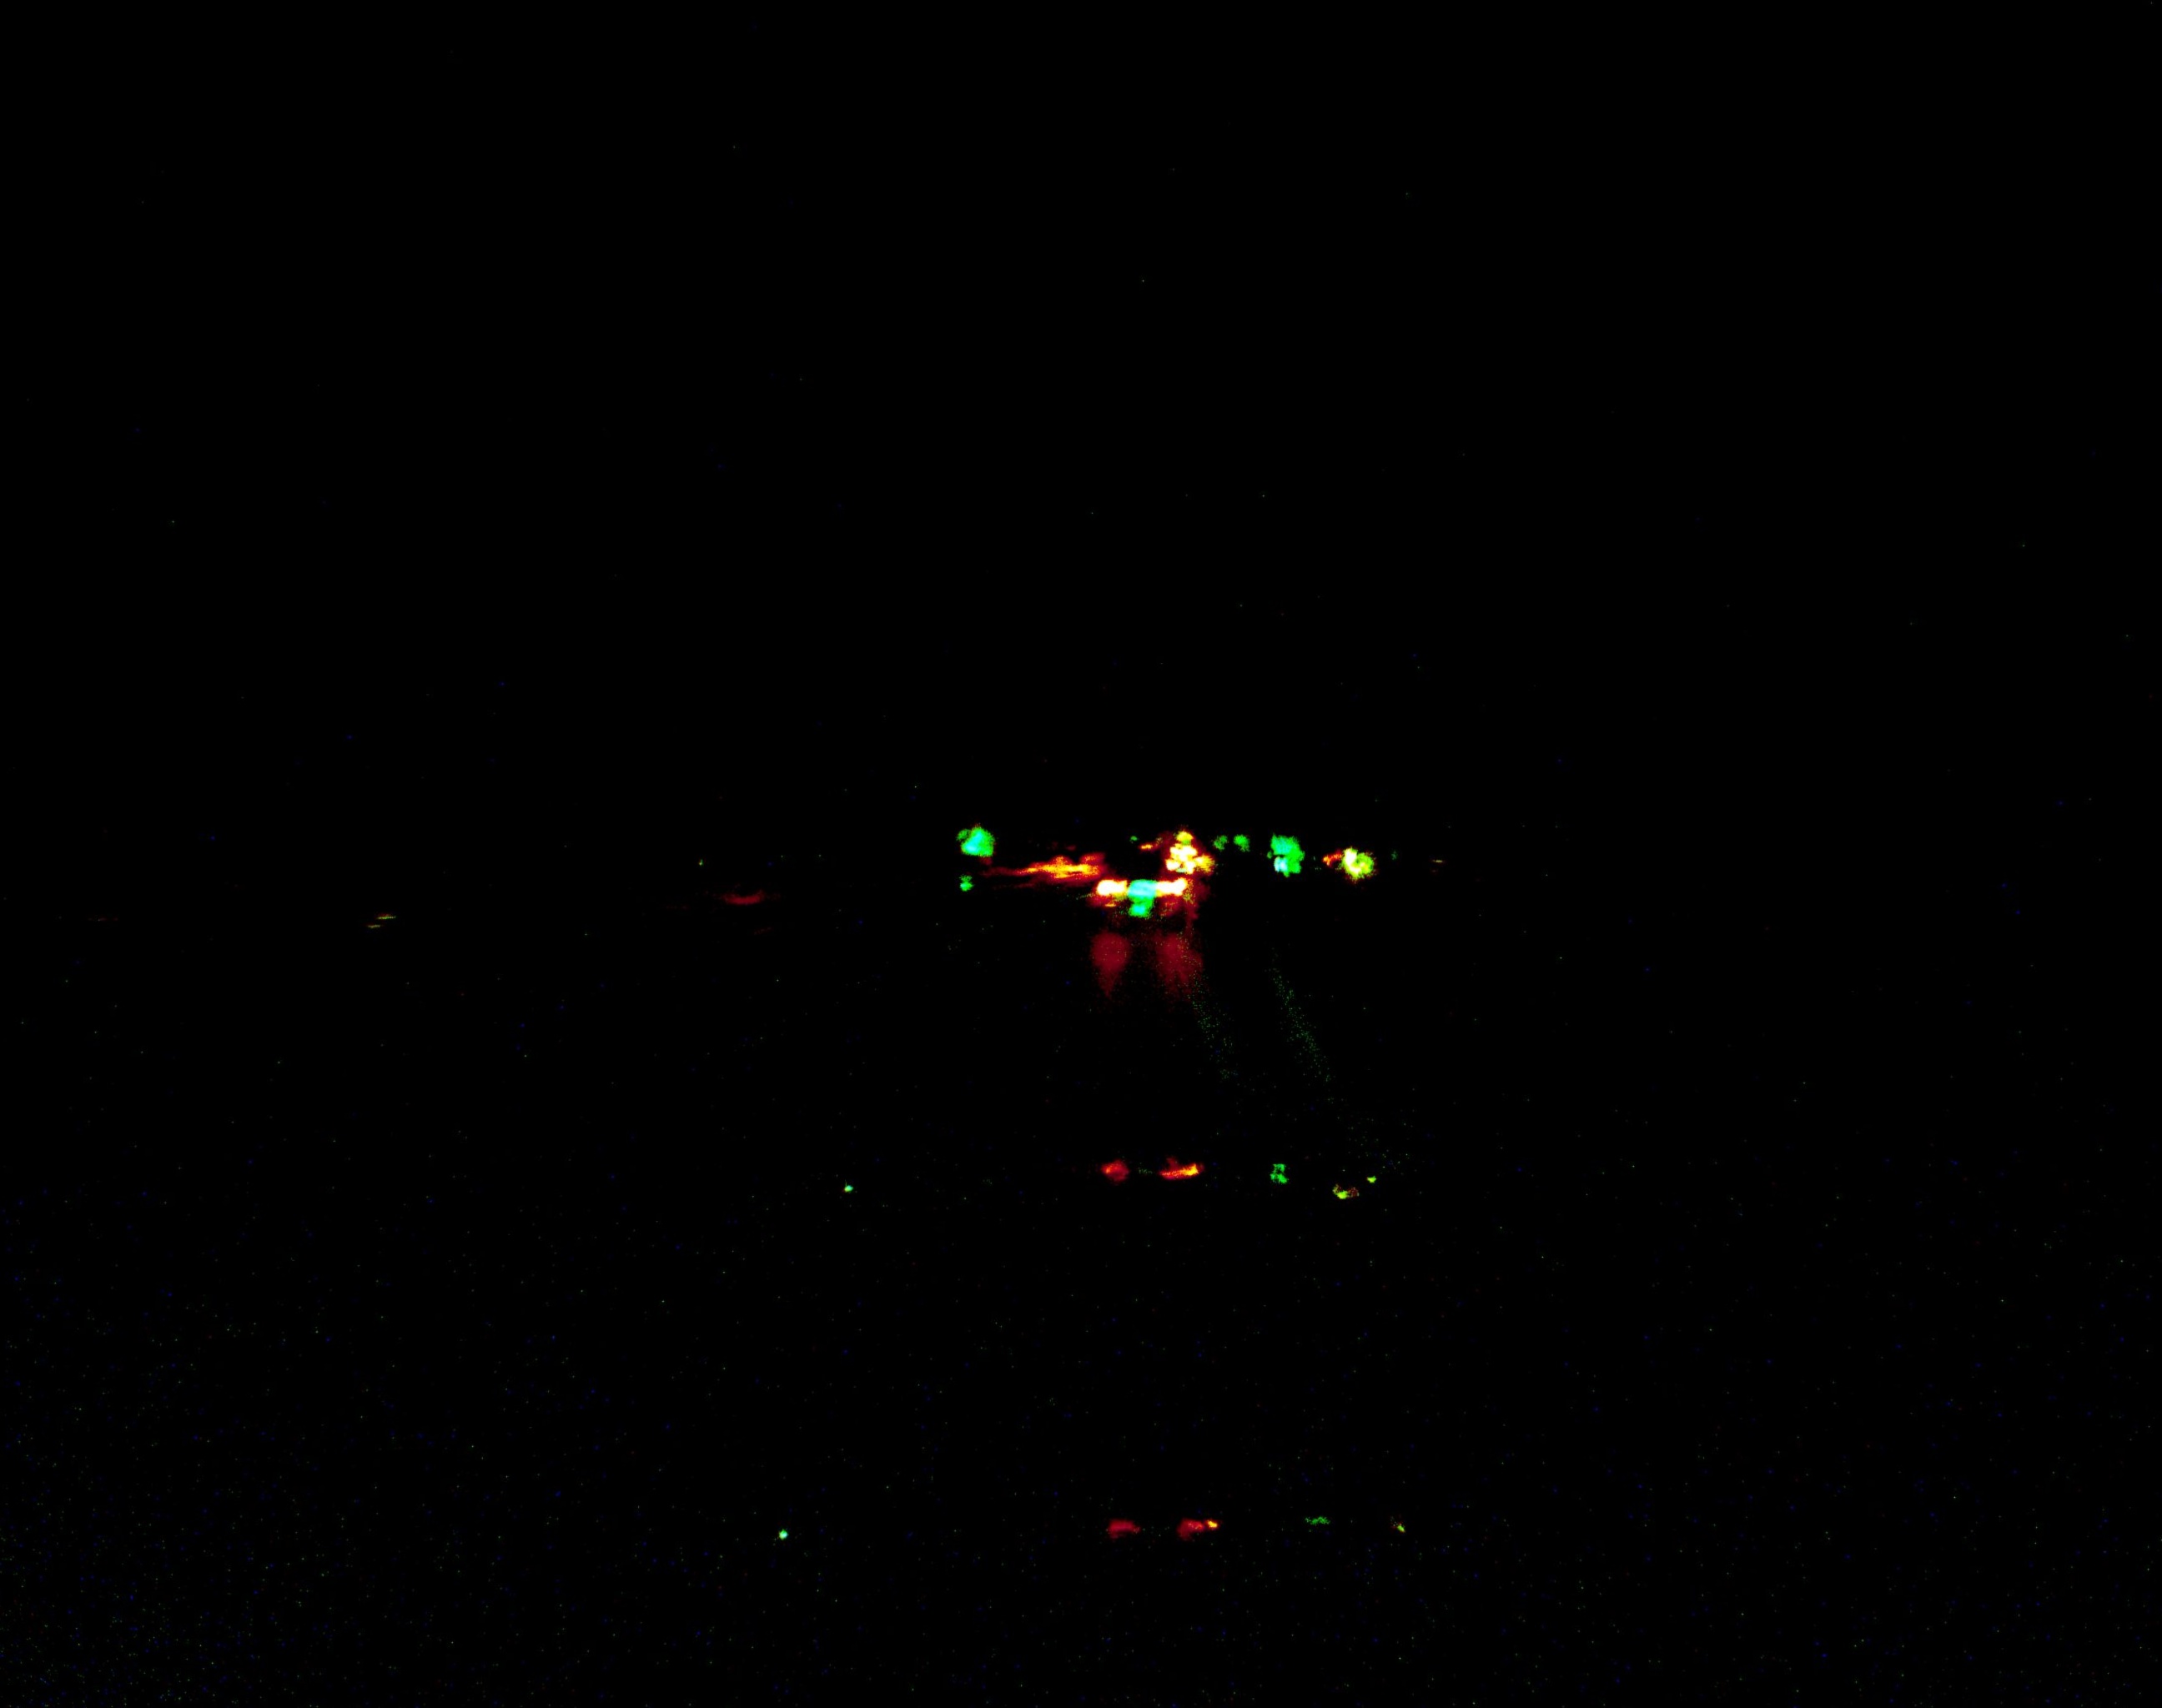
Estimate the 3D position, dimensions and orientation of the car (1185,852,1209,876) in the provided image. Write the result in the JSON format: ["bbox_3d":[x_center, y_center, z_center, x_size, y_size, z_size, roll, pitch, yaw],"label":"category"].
[{"bbox_3d":[10.113,0.901,70.980,1.883,2.040,4.056,-1,-2,10],"label":"car"}]

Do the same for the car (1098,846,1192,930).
[{"bbox_3d":[1.374,0.655,18.102,1.853,1.647,4.072,0,0,3],"label":"car"}]

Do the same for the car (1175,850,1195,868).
[{"bbox_3d":[11.893,0.568,93.427,1.888,1.998,4.047,-1,-1,2],"label":"car"}]

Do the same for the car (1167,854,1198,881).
[{"bbox_3d":[6.951,0.908,55.377,1.884,1.721,4.055,-1,-1,9],"label":"car"}]
